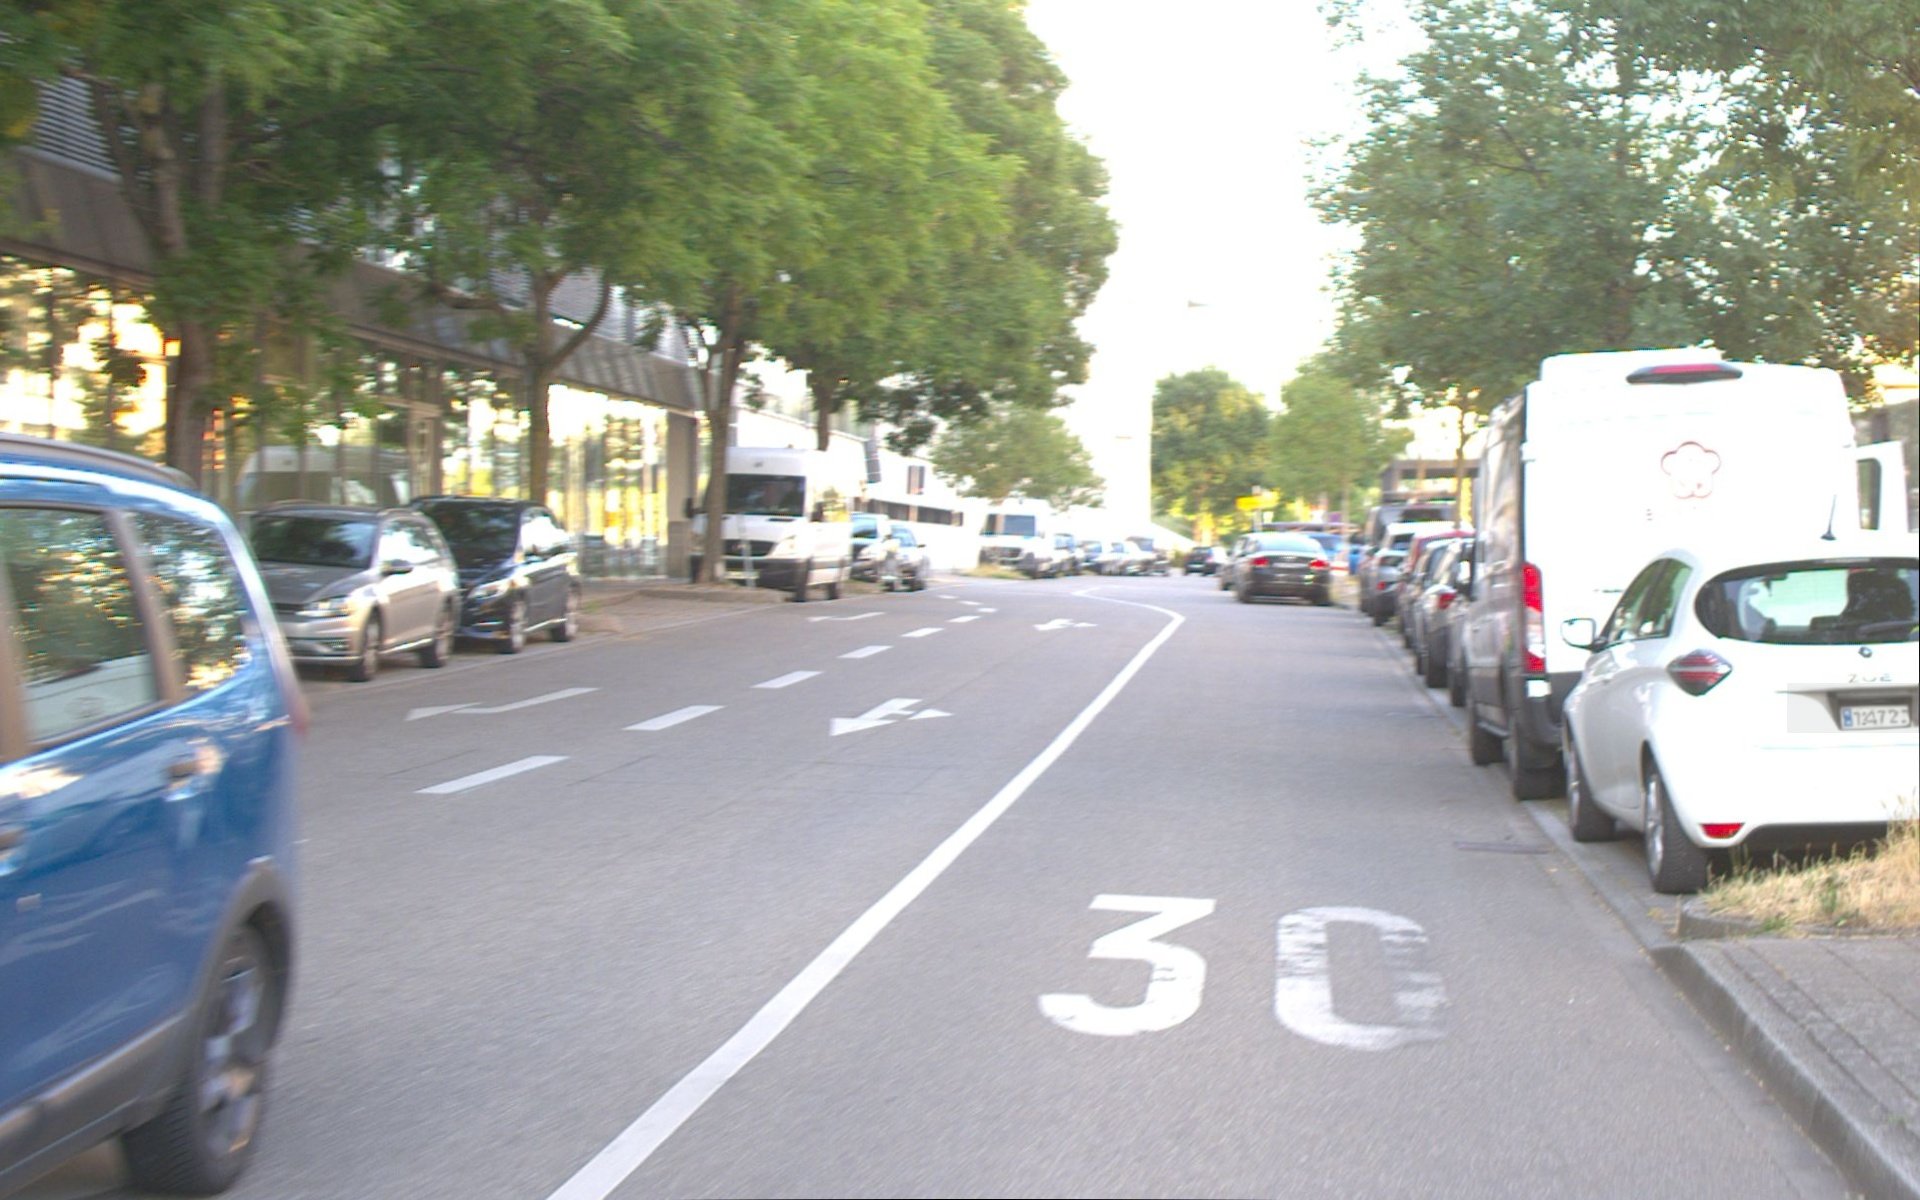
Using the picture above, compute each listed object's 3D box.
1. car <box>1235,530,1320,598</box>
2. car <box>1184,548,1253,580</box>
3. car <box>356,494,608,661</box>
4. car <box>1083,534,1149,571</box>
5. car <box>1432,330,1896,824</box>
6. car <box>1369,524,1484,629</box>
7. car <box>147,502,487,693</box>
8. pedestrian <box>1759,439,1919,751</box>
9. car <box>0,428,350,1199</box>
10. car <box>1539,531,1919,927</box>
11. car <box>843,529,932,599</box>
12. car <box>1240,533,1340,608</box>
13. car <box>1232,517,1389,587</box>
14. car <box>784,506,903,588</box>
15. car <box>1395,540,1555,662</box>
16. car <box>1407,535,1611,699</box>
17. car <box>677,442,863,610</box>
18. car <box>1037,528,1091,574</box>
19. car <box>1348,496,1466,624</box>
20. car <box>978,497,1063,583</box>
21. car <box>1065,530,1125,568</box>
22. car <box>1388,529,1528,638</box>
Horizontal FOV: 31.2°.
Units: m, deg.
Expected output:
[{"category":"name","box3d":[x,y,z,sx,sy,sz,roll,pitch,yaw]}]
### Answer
[{"category":"car","box3d":[7.087,-0.824,77.033,1.676,1.447,4.187,1,1,2]},{"category":"car","box3d":[12.093,-1.680,160.620,1.946,1.378,4.394,3,2,22]},{"category":"car","box3d":[-5.000,-0.276,36.520,1.590,1.563,4.471,4,2,5]},{"category":"car","box3d":[6.642,-2.000,146.065,1.724,1.452,4.690,3,2,16]},{"category":"car","box3d":[4.256,-0.172,21.703,2.051,2.648,5.434,-2,1,4]},{"category":"car","box3d":[7.371,-0.394,54.617,1.708,1.575,4.478,-1,1,7]},{"category":"car","box3d":[-5.610,-0.073,30.569,1.703,1.456,4.626,4,2,5]},{"category":"pedestrian","box3d":[5.934,-0.042,22.743,0.976,2.007,0.808,0,1,-40]},{"category":"car","box3d":[-2.546,0.511,6.087,1.748,1.672,4.272,2,1,6]},{"category":"car","box3d":[3.854,0.499,16.238,1.748,1.578,4.013,-2,1,4]},{"category":"car","box3d":[-1.554,-0.807,74.921,1.715,1.447,4.399,1,1,1]},{"category":"car","box3d":[6.796,-0.638,71.142,1.787,1.447,4.515,1,1,2]},{"category":"car","box3d":[11.099,-1.514,108.869,4.587,2.028,1.872,2,2,-28]},{"category":"car","box3d":[-2.311,-1.086,69.435,1.844,1.566,4.267,1,1,5]},{"category":"car","box3d":[6.449,-0.019,43.364,1.708,1.446,3.999,-1,1,5]},{"category":"car","box3d":[5.548,0.125,35.195,1.797,1.491,4.779,-2,1,7]},{"category":"car","box3d":[-3.152,-1.258,58.540,2.101,2.654,6.950,1,1,5]},{"category":"car","box3d":[4.021,-1.917,132.468,1.756,1.648,3.948,3,1,5]},{"category":"car","box3d":[7.915,-0.725,61.193,1.804,2.169,4.735,-1,1,5]},{"category":"car","box3d":[1.995,-1.964,111.224,1.959,2.608,6.891,3,1,7]},{"category":"car","box3d":[5.536,-2.094,140.526,1.723,1.452,4.269,3,2,12]},{"category":"car","box3d":[7.138,-0.261,49.548,1.708,1.488,4.130,-1,1,5]}]
